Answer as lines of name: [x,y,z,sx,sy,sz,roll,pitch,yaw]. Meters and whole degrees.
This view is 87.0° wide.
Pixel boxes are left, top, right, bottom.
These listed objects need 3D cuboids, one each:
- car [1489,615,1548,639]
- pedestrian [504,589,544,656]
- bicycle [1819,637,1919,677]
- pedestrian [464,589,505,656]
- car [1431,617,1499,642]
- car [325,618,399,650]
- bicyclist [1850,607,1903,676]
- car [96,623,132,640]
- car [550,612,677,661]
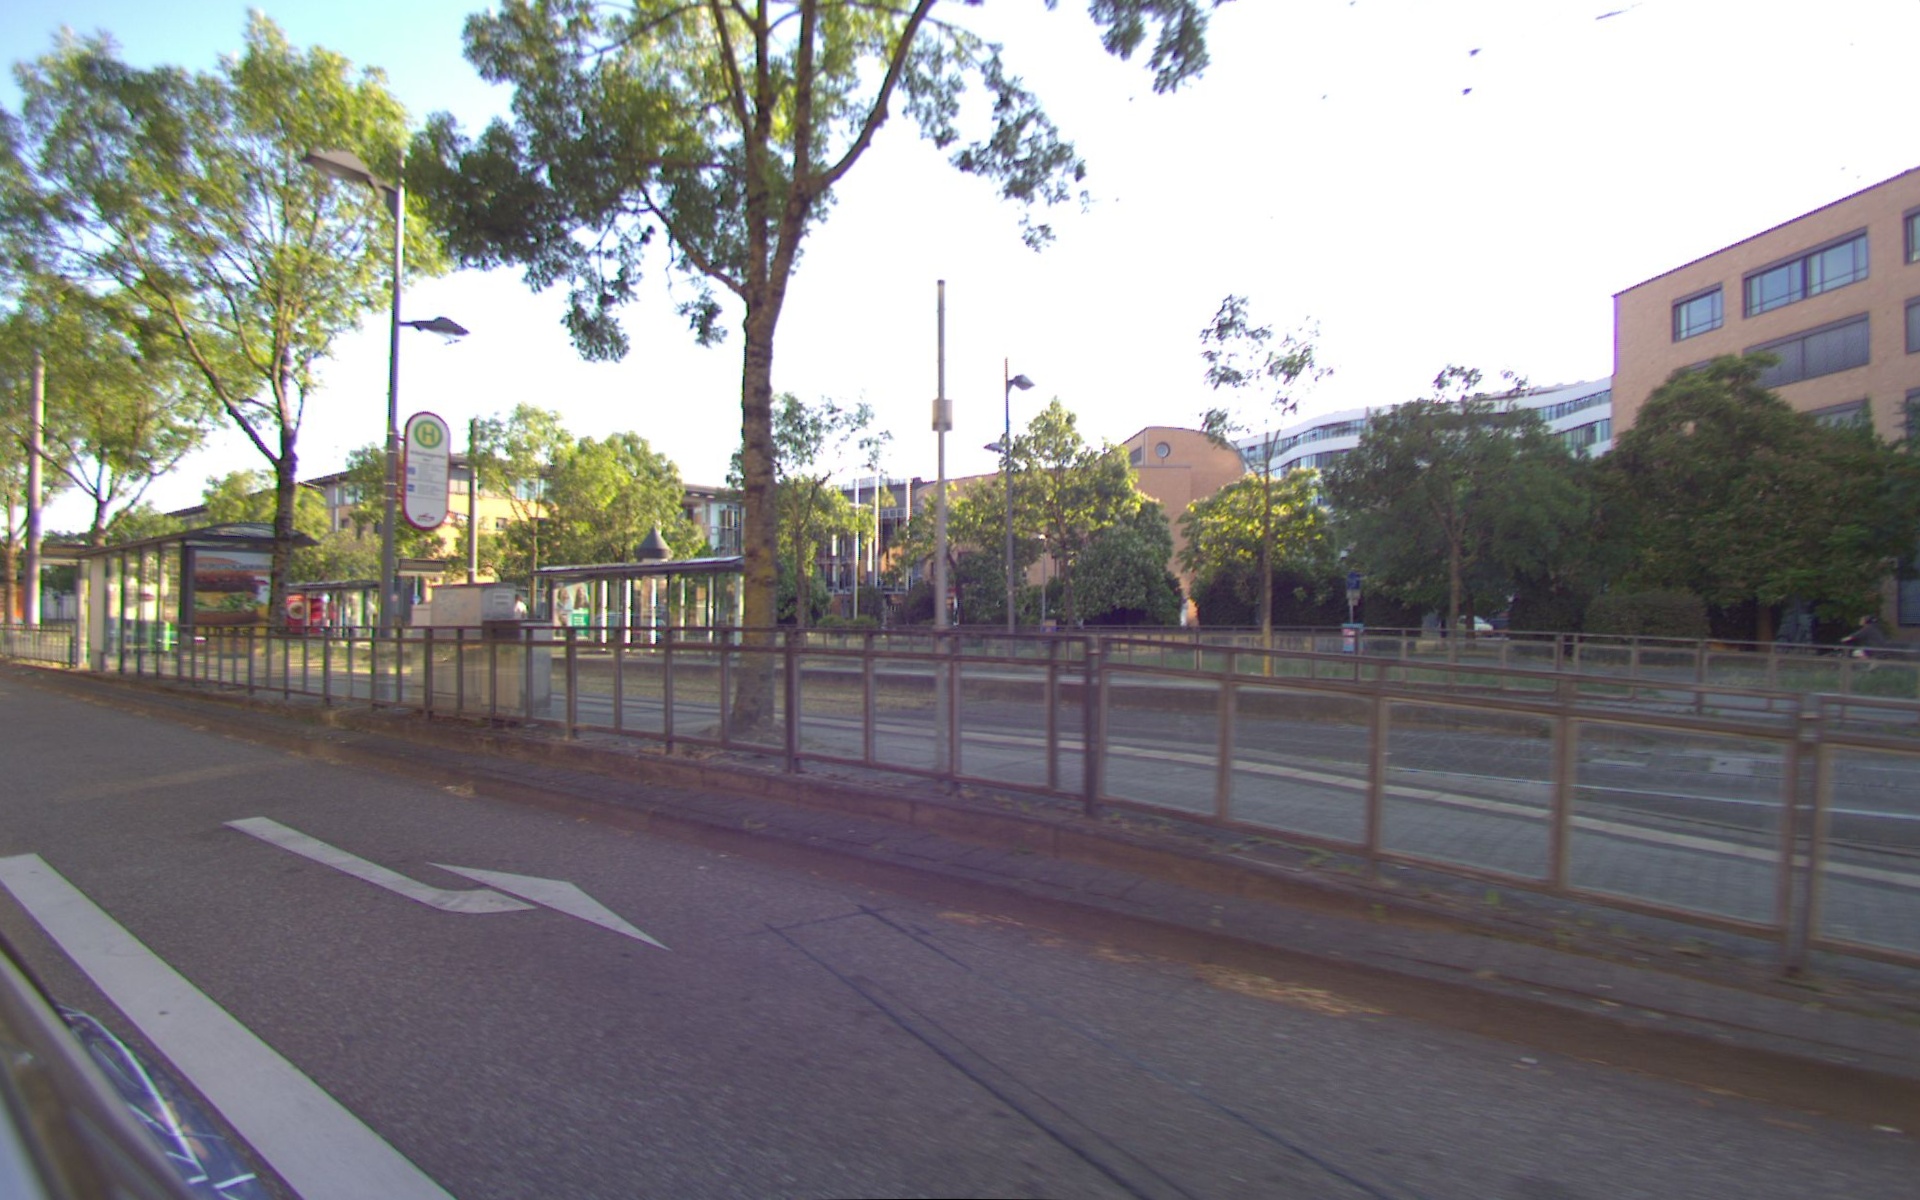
car: [38.108,1.851,69.166,1.975,1.616,3.994,0,-1,5]
pedestrian: [-13.570,0.694,31.492,1.127,2.029,0.761,-1,-2,42]
bicycle: [20.247,1.248,22.310,1.966,0.827,0.766,-1,-2,43]
pedestrian: [-14.702,0.709,31.316,1.127,2.029,0.761,-1,-2,42]
car: [34.762,2.015,69.791,1.966,1.616,4.012,0,-1,-17]
car: [-29.388,1.646,49.679,4.337,1.426,1.776,-1,0,39]
bicyclist: [20.219,0.896,22.329,0.827,1.478,0.759,-1,-2,42]
car: [-69.202,2.589,82.774,3.686,1.308,1.525,-2,-2,39]
car: [-11.928,1.226,34.722,4.891,1.563,1.973,-1,-2,41]
